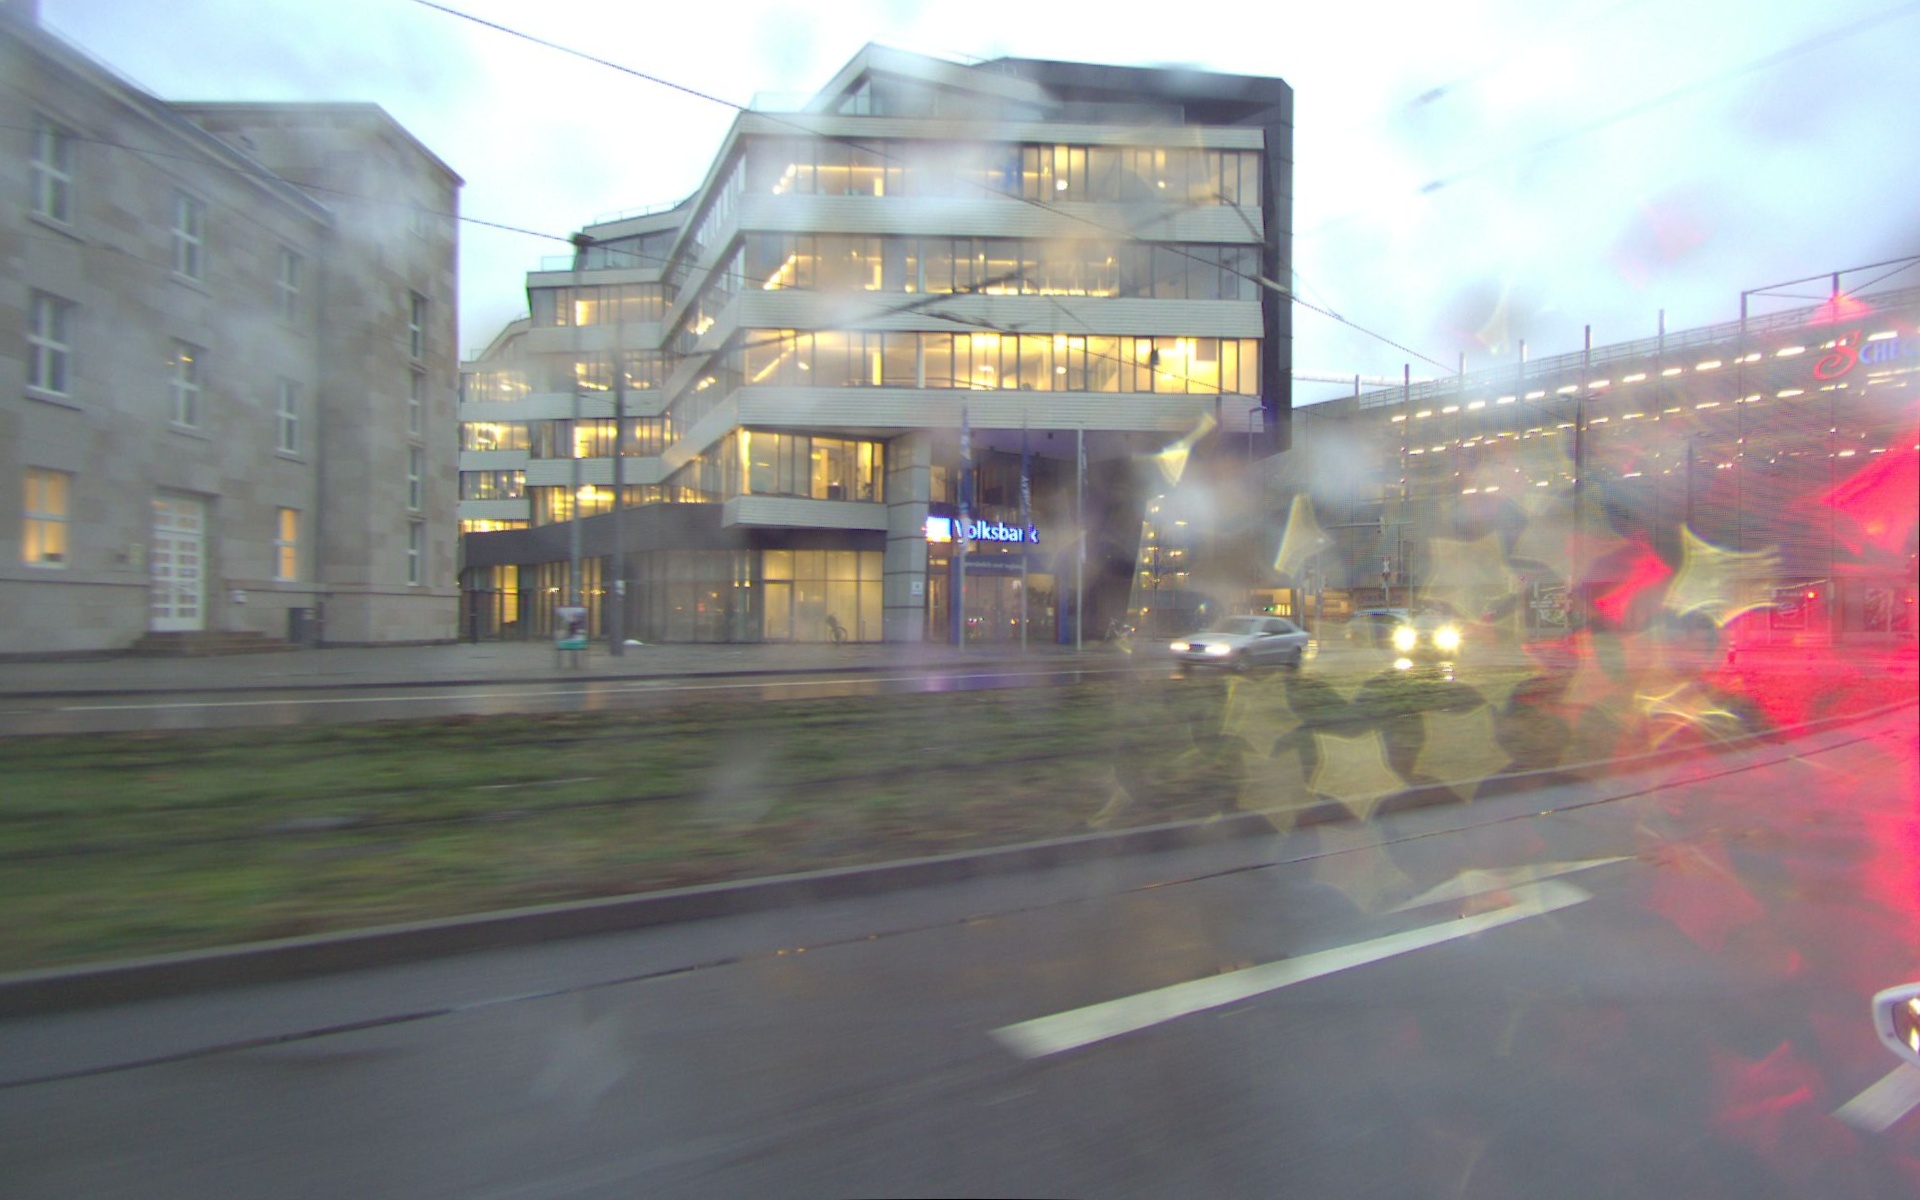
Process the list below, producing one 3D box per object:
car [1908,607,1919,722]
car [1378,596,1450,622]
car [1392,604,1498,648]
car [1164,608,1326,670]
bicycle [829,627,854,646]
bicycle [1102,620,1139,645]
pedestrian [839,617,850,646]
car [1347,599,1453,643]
[{"bbox_3d":[15.340,0.918,14.620,3.965,1.595,1.739,1,-1,-39],"label":"car"},{"bbox_3d":[37.246,0.703,82.444,1.875,1.988,5.036,0,2,-39],"label":"car"},{"bbox_3d":[17.329,0.878,35.816,4.484,1.419,1.643,0,2,-39],"label":"car"},{"bbox_3d":[7.681,0.977,26.866,4.614,1.454,1.807,0,2,-38],"label":"car"},{"bbox_3d":[-4.572,1.400,38.642,0.897,0.724,0.482,0,-1,-14],"label":"bicycle"},{"bbox_3d":[7.137,1.435,44.673,1.590,1.105,0.552,1,-1,-27],"label":"bicycle"},{"bbox_3d":[-4.456,1.213,38.797,0.380,1.103,0.325,0,-1,0],"label":"pedestrian"},{"bbox_3d":[19.918,0.980,45.533,3.947,1.899,1.987,-2,-1,45],"label":"car"}]
